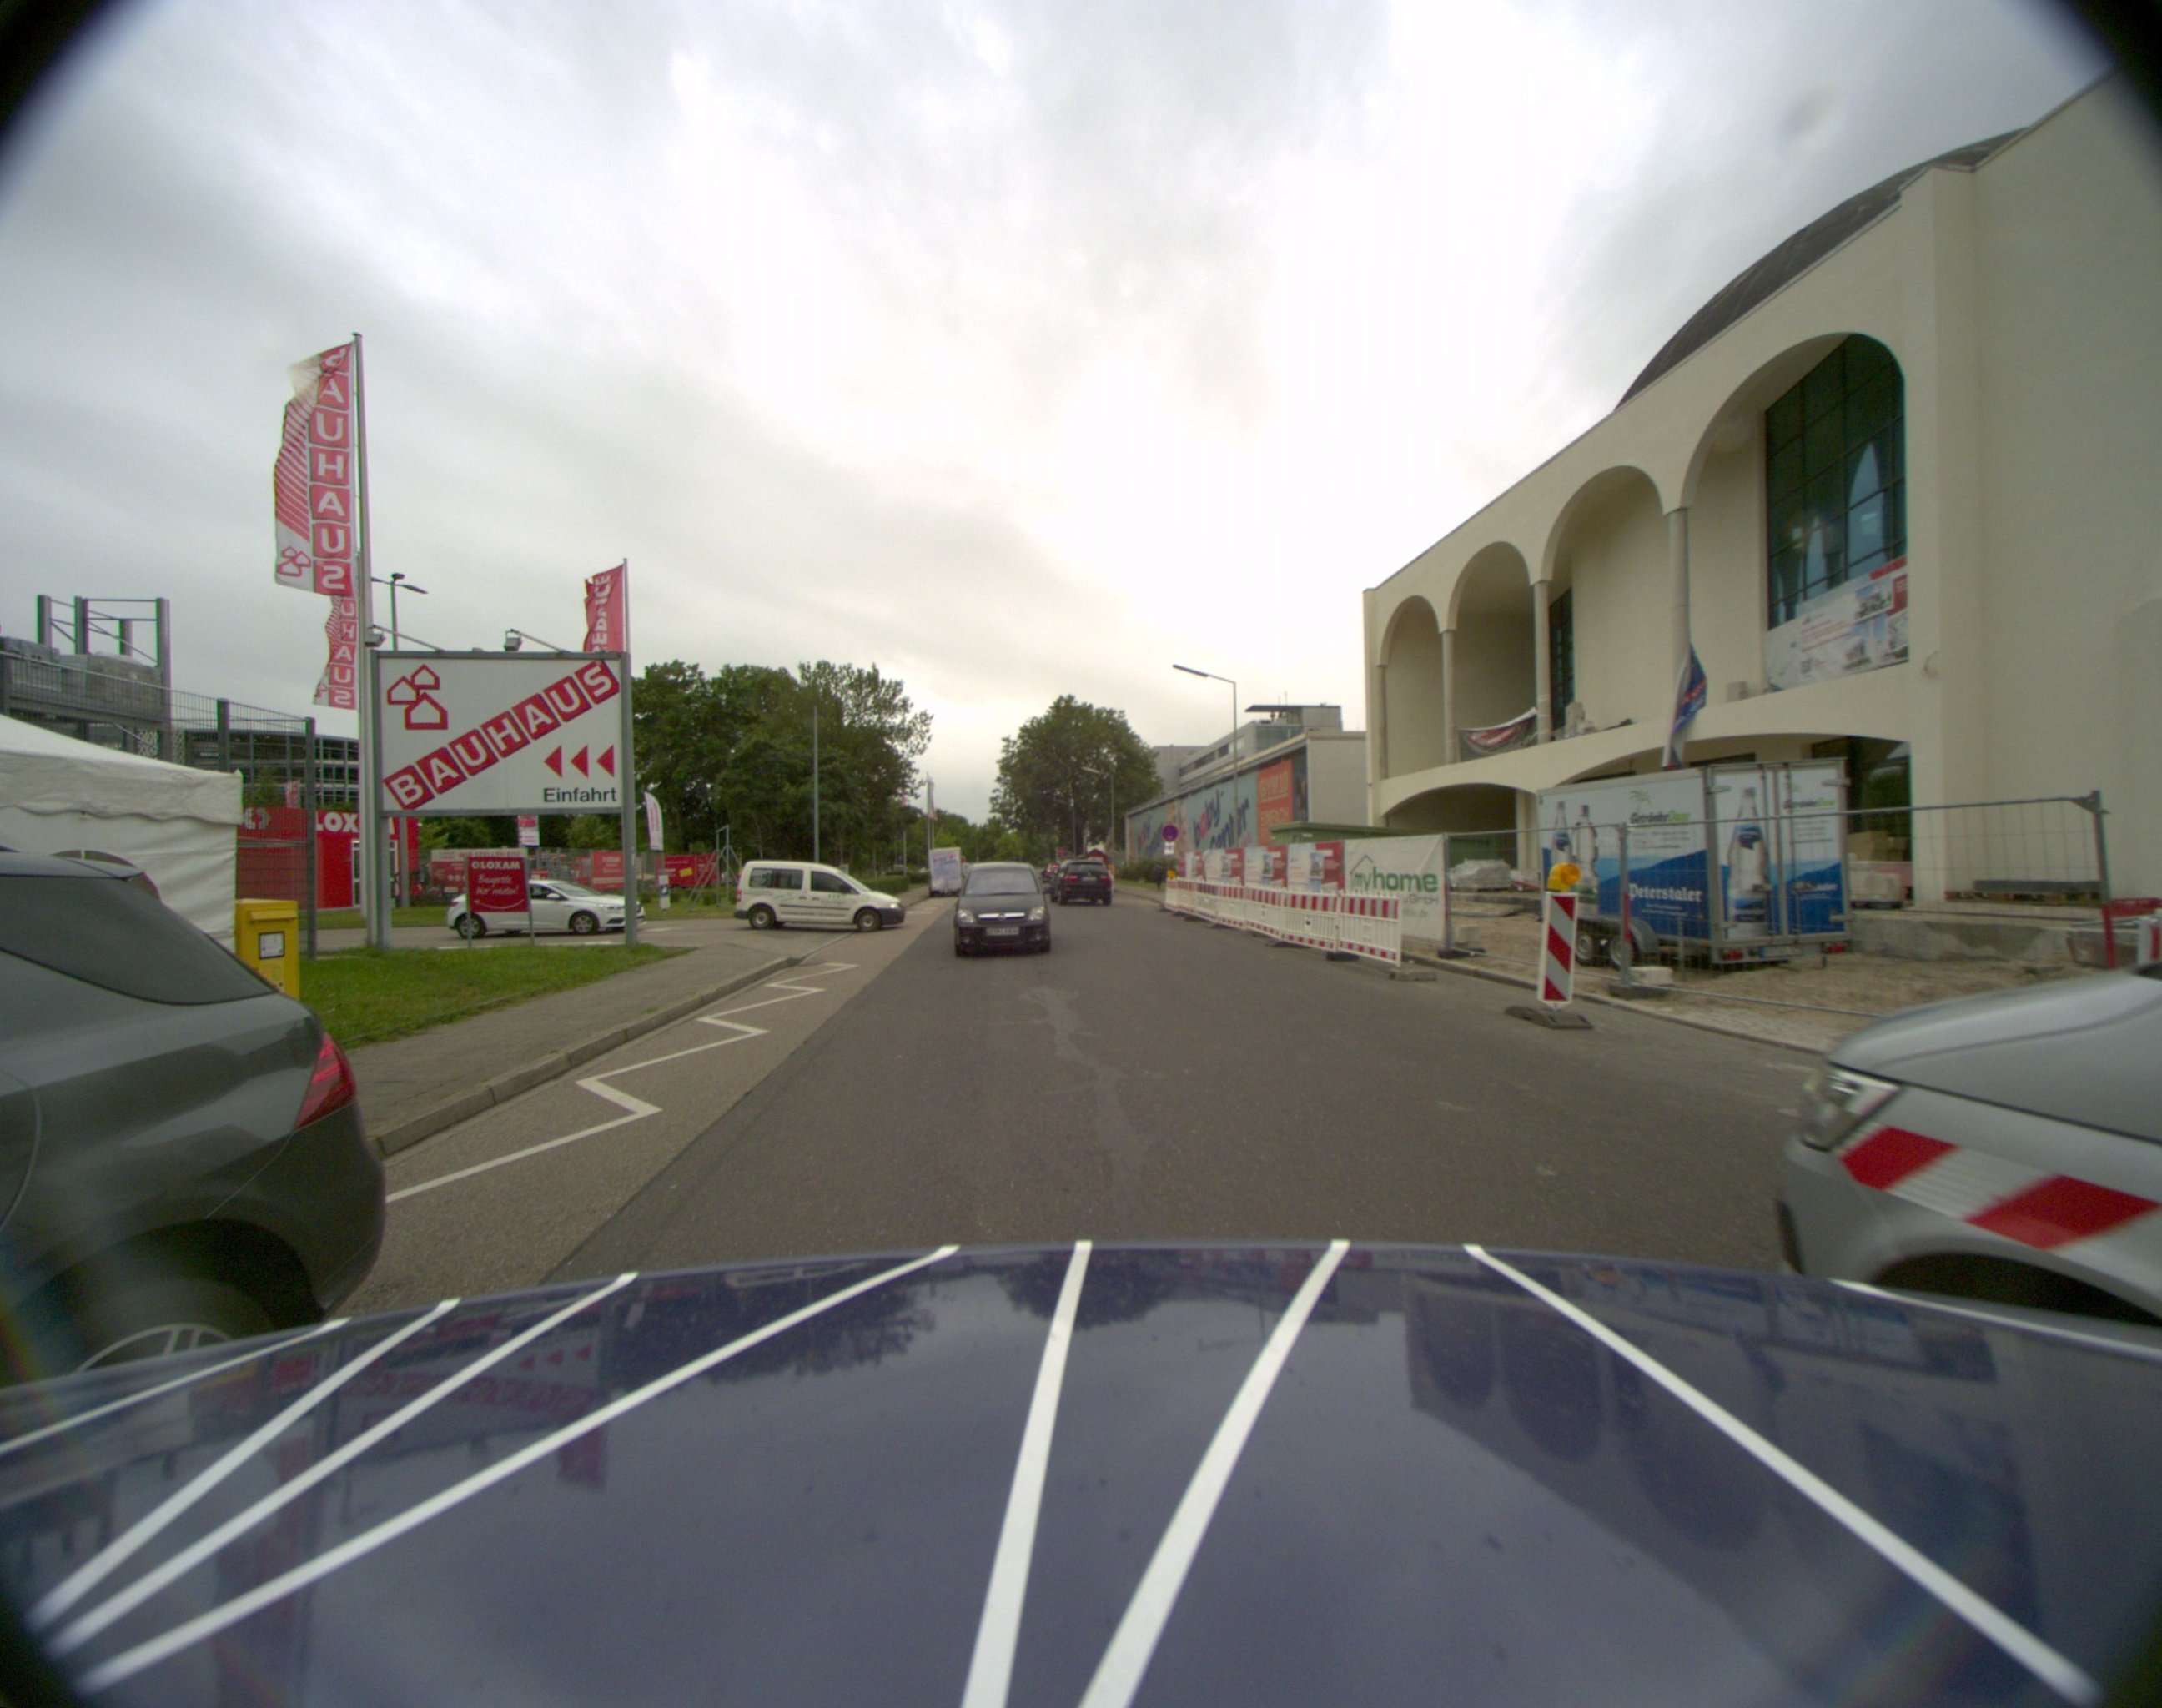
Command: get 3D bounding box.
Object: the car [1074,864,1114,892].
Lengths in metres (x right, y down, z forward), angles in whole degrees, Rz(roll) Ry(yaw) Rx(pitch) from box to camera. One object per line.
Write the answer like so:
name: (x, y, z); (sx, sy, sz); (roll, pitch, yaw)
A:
car: (0.713, 1.399, 45.661); (1.930, 1.564, 4.147); (2, -1, -5)

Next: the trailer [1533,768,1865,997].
trailer: (8.055, 0.333, 10.310); (1.803, 2.591, 3.190); (-1, 0, -3)

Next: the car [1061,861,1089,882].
car: (-0.503, 1.388, 61.706); (1.930, 1.564, 4.147); (2, -1, -5)

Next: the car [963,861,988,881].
car: (-9.990, 1.596, 72.220); (1.999, 1.739, 3.999); (-1, 0, -4)

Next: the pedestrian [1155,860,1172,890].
pedestrian: (4.469, 1.113, 41.073); (0.793, 1.570, 0.602); (-3, 1, 2)

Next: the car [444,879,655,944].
car: (-13.635, 1.446, 19.703); (4.114, 1.412, 1.730); (-2, 0, -5)

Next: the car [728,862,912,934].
car: (-6.912, 1.163, 20.511); (4.383, 1.797, 1.799); (1, 0, -7)

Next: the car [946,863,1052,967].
car: (-1.460, 1.009, 14.222); (1.686, 1.622, 3.757); (-1, 0, -4)

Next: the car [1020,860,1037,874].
car: (-6.310, 1.531, 91.412); (1.930, 1.564, 3.998); (0, 0, -5)

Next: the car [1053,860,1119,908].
car: (0.104, 1.065, 28.932); (1.965, 1.652, 4.651); (1, 0, -6)

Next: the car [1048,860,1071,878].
car: (-2.102, 1.381, 72.309); (1.930, 1.564, 4.147); (2, -1, -5)

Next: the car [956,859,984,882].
car: (-9.395, 1.360, 64.383); (1.999, 1.805, 3.999); (-1, 0, -4)

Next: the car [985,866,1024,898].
car: (-3.734, 1.320, 37.171); (1.751, 1.351, 4.135); (-3, 0, -6)

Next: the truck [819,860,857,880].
truck: (-29.471, 1.910, 92.182); (1.994, 2.382, 4.008); (-1, 0, 34)

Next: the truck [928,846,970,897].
truck: (-7.273, 0.929, 42.144); (1.854, 2.597, 3.998); (-4, 0, -6)
